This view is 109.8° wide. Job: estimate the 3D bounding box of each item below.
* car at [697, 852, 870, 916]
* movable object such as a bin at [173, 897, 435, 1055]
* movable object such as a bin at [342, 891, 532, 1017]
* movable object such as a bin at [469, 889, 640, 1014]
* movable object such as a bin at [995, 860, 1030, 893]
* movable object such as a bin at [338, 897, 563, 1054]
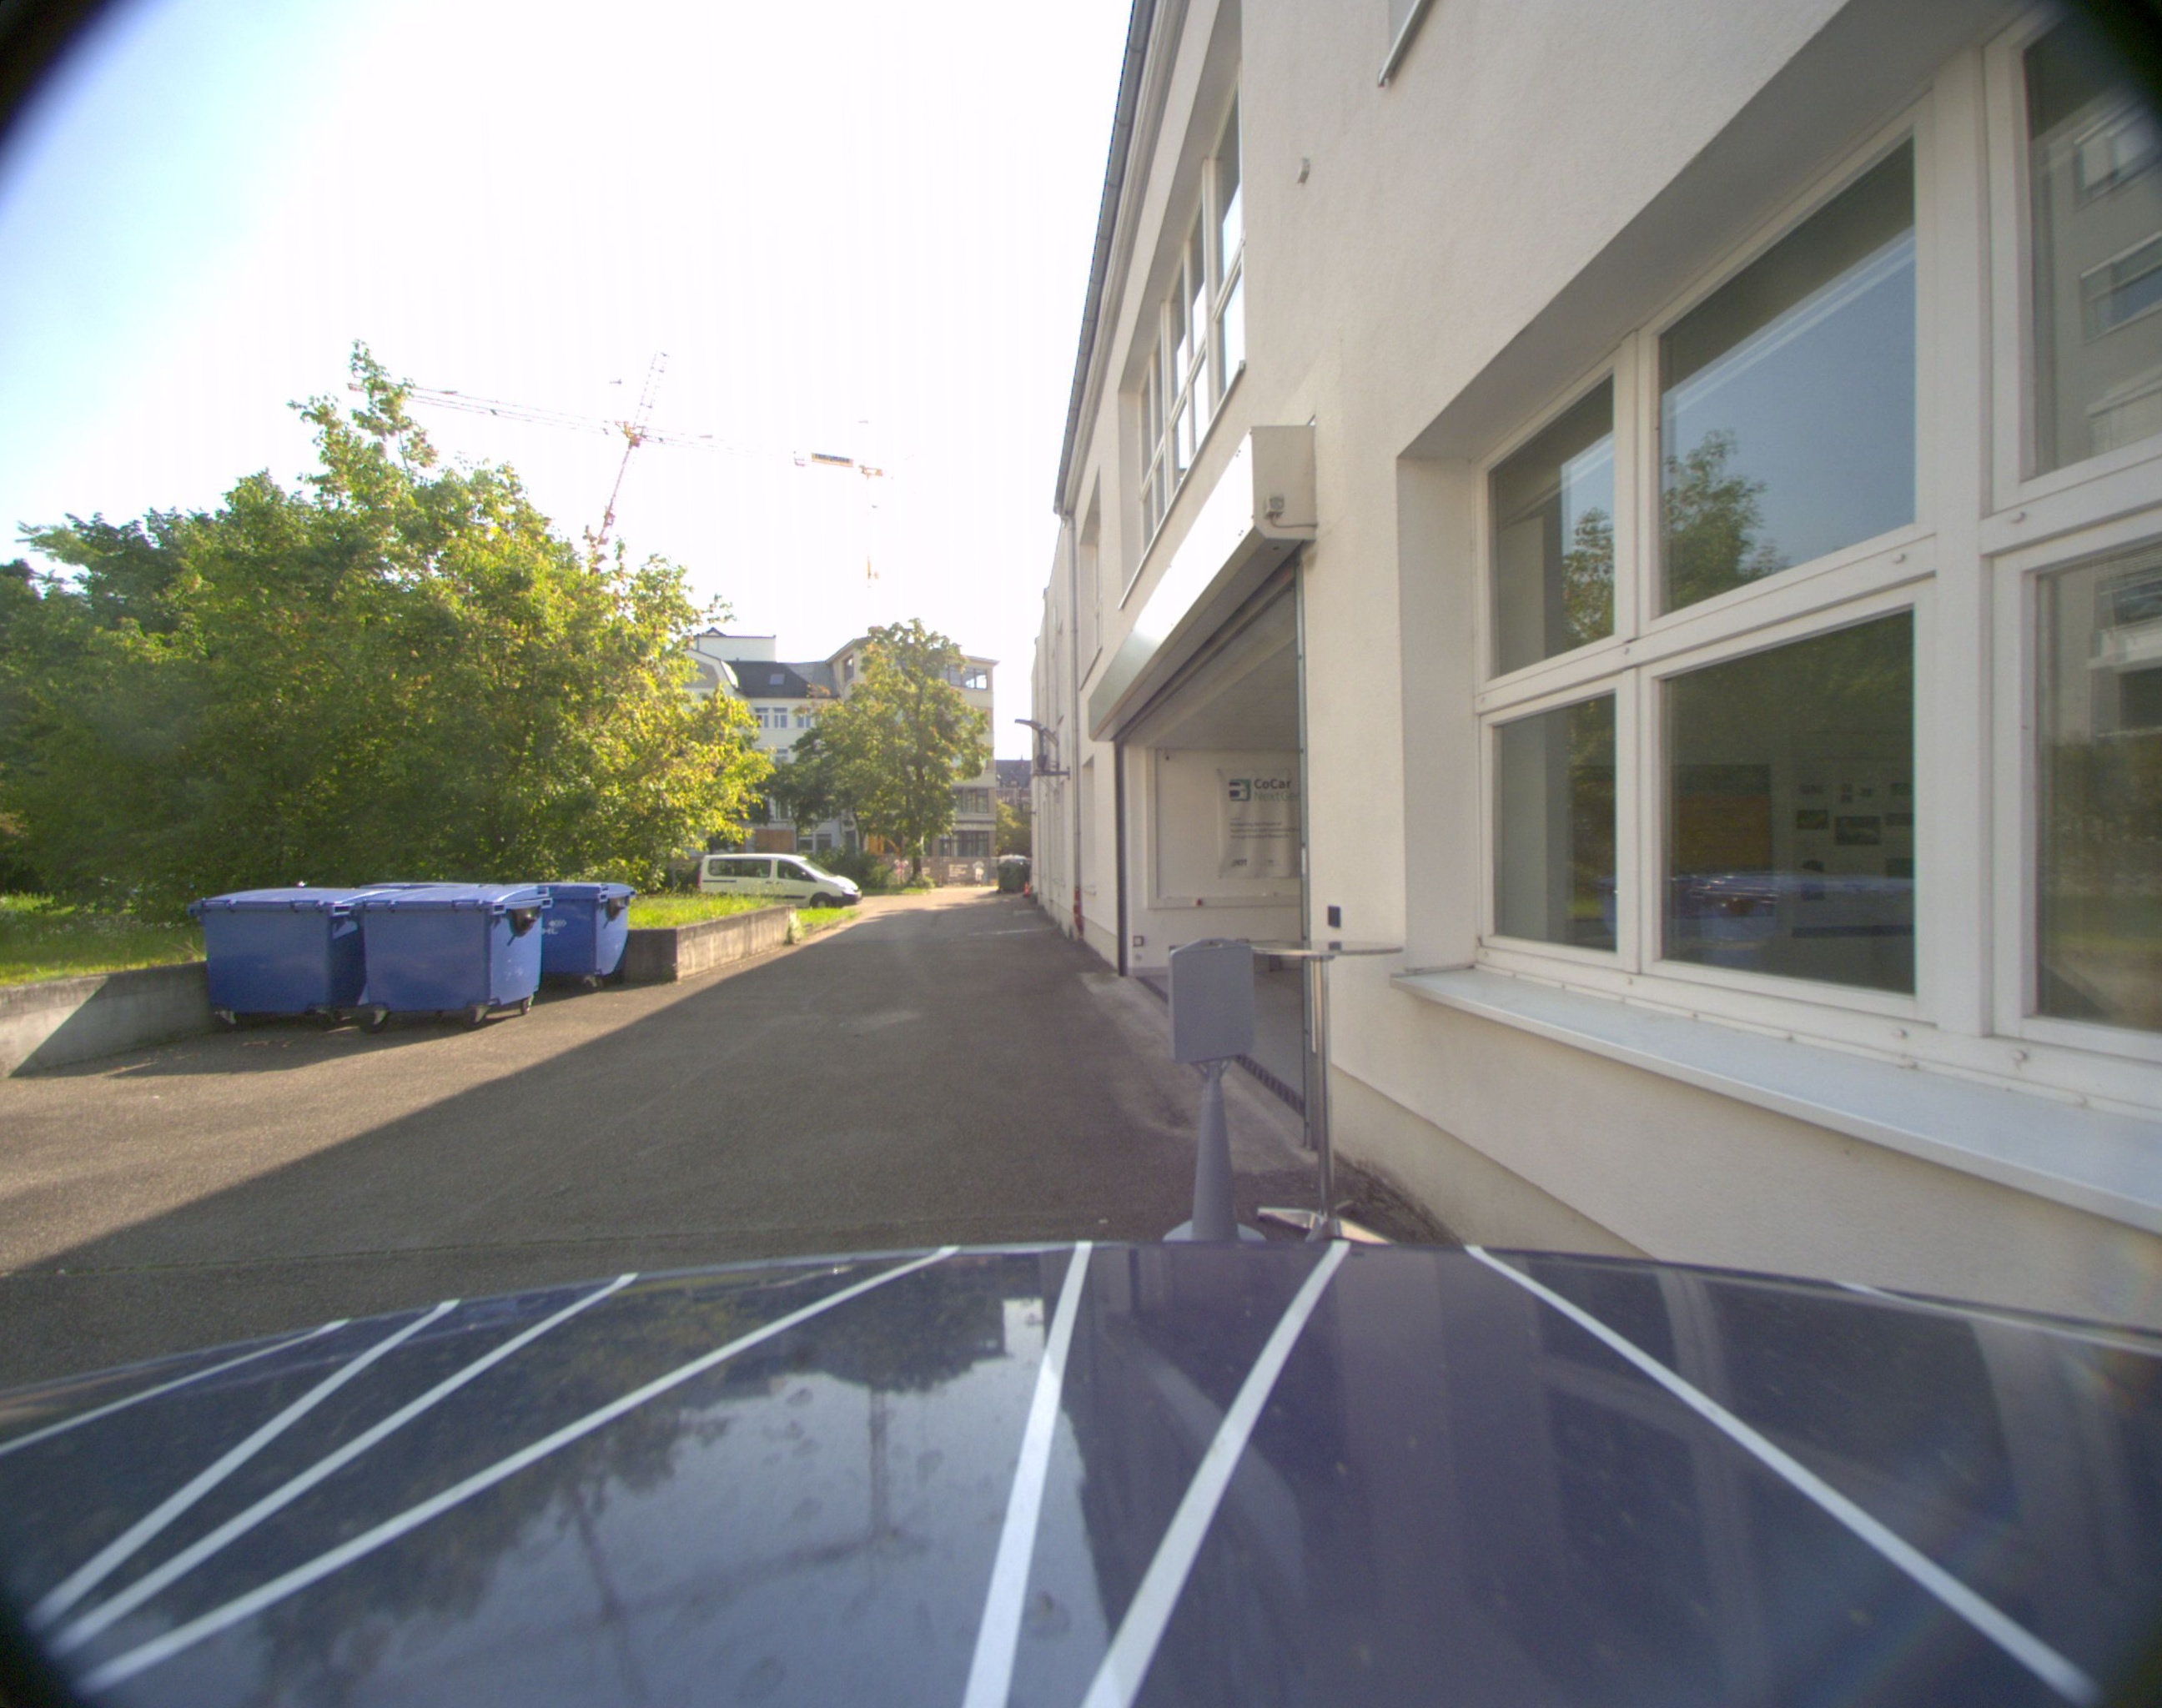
[{"bbox_3d":[-9.440,0.927,24.407,4.792,1.920,1.908,0,0,-4],"label":"car"},{"bbox_3d":[-7.557,1.133,7.506,1.257,1.320,1.274,-1,0,-5],"label":"movable object such as a bin"},{"bbox_3d":[-7.642,1.145,9.117,1.200,1.320,1.274,-1,0,-5],"label":"movable object such as a bin"},{"bbox_3d":[-6.278,1.125,9.177,1.200,1.320,1.274,-1,0,-5],"label":"movable object such as a bin"},{"bbox_3d":[-3.120,1.018,34.511,1.525,1.457,1.274,-1,0,-5],"label":"movable object such as a bin"},{"bbox_3d":[-6.213,1.145,7.615,1.214,1.343,1.274,-1,0,-7],"label":"movable object such as a bin"}]
